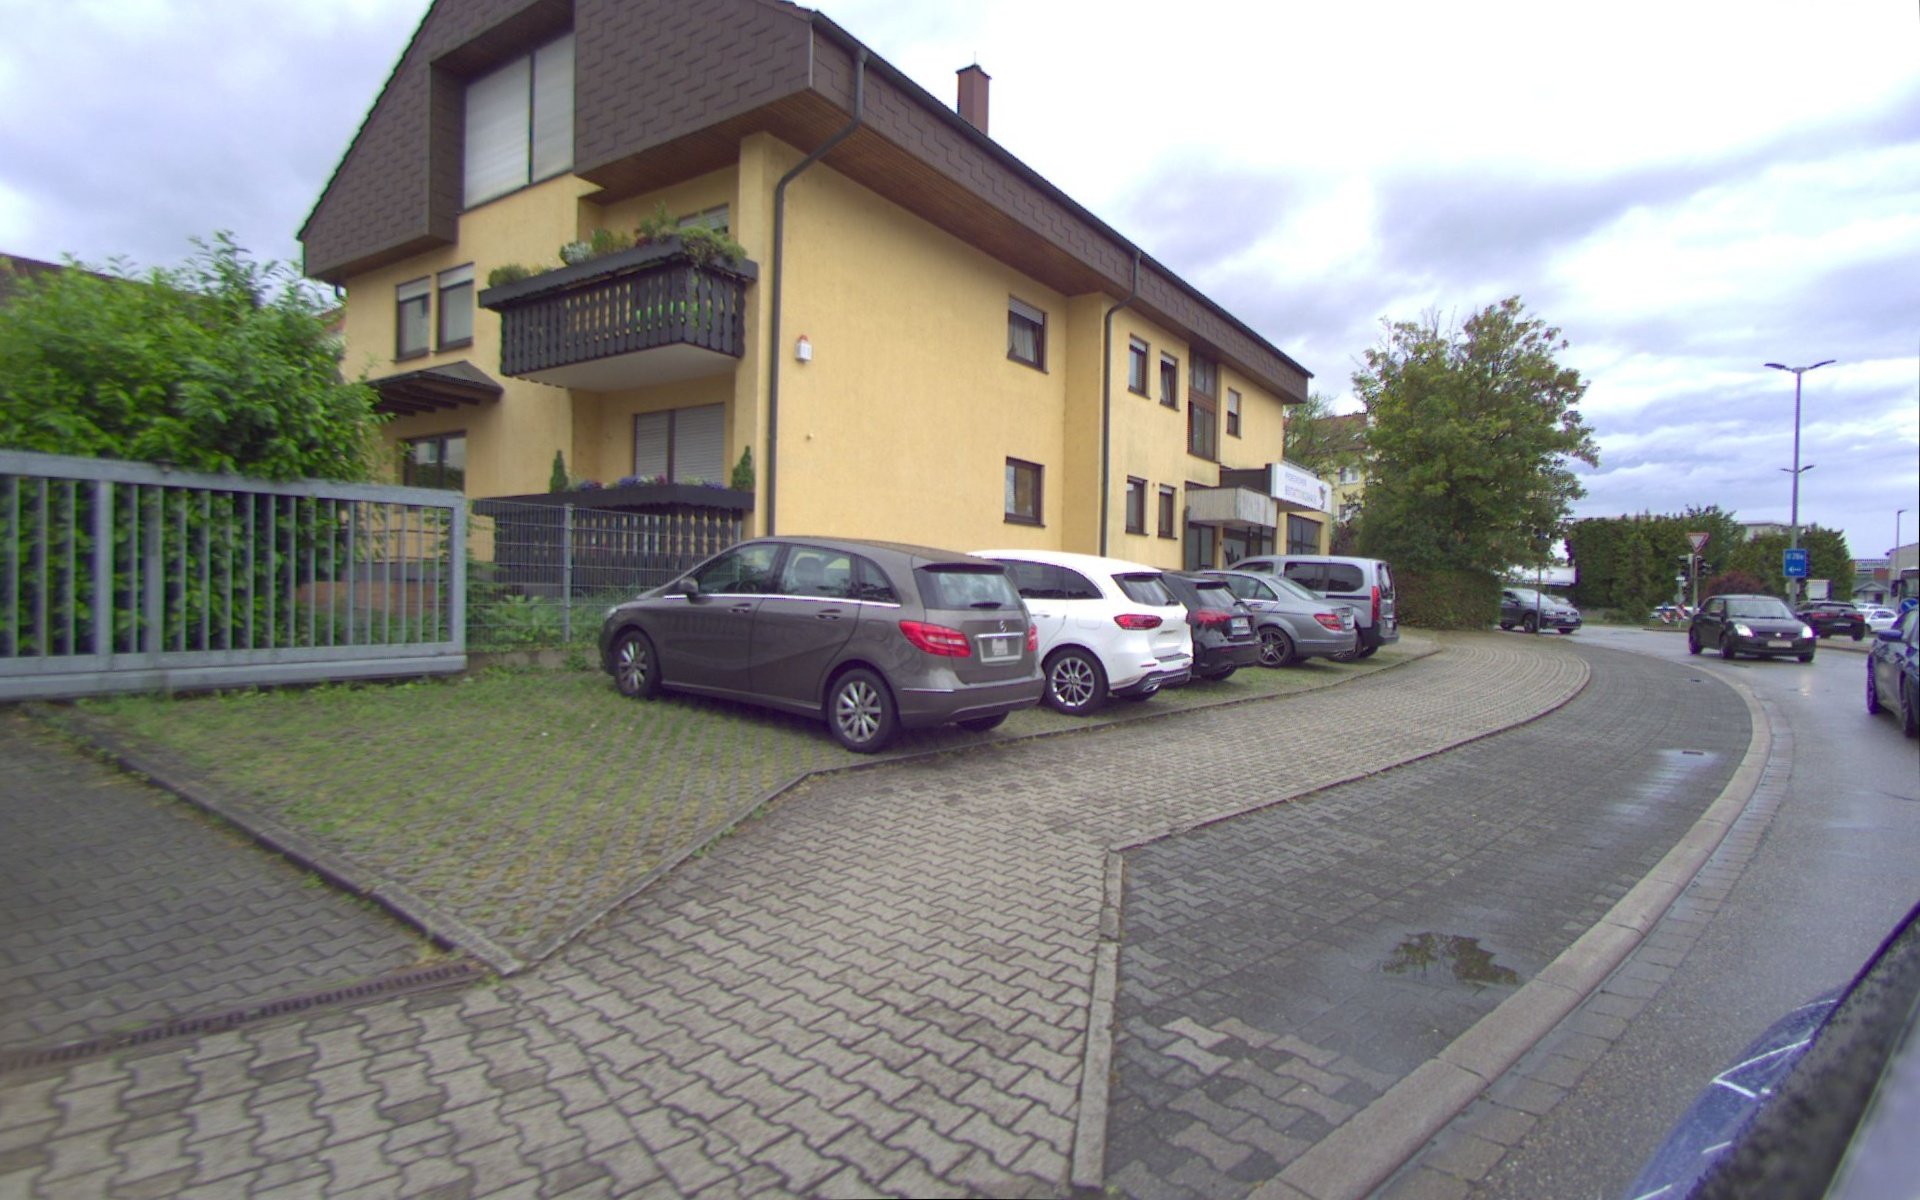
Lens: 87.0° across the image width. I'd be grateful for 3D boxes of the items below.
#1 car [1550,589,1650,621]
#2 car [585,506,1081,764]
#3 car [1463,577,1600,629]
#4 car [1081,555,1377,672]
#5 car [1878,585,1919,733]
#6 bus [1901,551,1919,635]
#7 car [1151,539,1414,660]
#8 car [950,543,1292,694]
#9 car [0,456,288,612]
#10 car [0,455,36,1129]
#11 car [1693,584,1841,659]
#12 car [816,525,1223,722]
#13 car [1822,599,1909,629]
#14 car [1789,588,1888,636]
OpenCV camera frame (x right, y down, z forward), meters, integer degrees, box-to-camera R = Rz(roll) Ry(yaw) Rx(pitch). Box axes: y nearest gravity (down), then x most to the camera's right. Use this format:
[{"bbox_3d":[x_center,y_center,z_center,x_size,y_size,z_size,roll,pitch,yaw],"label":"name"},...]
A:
[{"bbox_3d":[32.345,0.231,51.251,1.791,1.505,3.945,1,1,-24],"label":"car"},{"bbox_3d":[-1.210,0.121,8.804,4.034,1.615,1.881,6,4,35],"label":"car"},{"bbox_3d":[21.518,0.046,38.321,1.928,1.771,4.317,-2,2,-18],"label":"car"},{"bbox_3d":[4.356,0.134,16.683,4.346,1.440,1.675,6,4,33],"label":"car"},{"bbox_3d":[11.798,0.612,11.339,1.905,1.515,4.289,1,0,38],"label":"car"},{"bbox_3d":[34.334,-0.174,33.034,2.529,3.037,9.123,3,2,25],"label":"bus"},{"bbox_3d":[6.002,-0.089,18.991,4.280,1.802,1.882,6,4,33],"label":"car"},{"bbox_3d":[2.055,0.133,13.478,4.038,1.507,1.879,6,4,37],"label":"car"},{"bbox_3d":[-12.885,-0.901,14.634,1.986,2.038,4.876,0,2,34],"label":"car"},{"bbox_3d":[-4.405,0.280,3.228,4.341,1.615,1.739,7,5,42],"label":"car"},{"bbox_3d":[19.258,0.451,24.345,1.727,1.538,3.971,-1,2,23],"label":"car"},{"bbox_3d":[0.579,0.116,11.137,4.031,1.615,1.873,6,4,33],"label":"car"},{"bbox_3d":[52.291,0.801,58.464,3.915,1.660,2.005,0,1,-17],"label":"car"},{"bbox_3d":[33.577,0.419,38.813,1.939,1.537,4.135,1,3,28],"label":"car"}]
